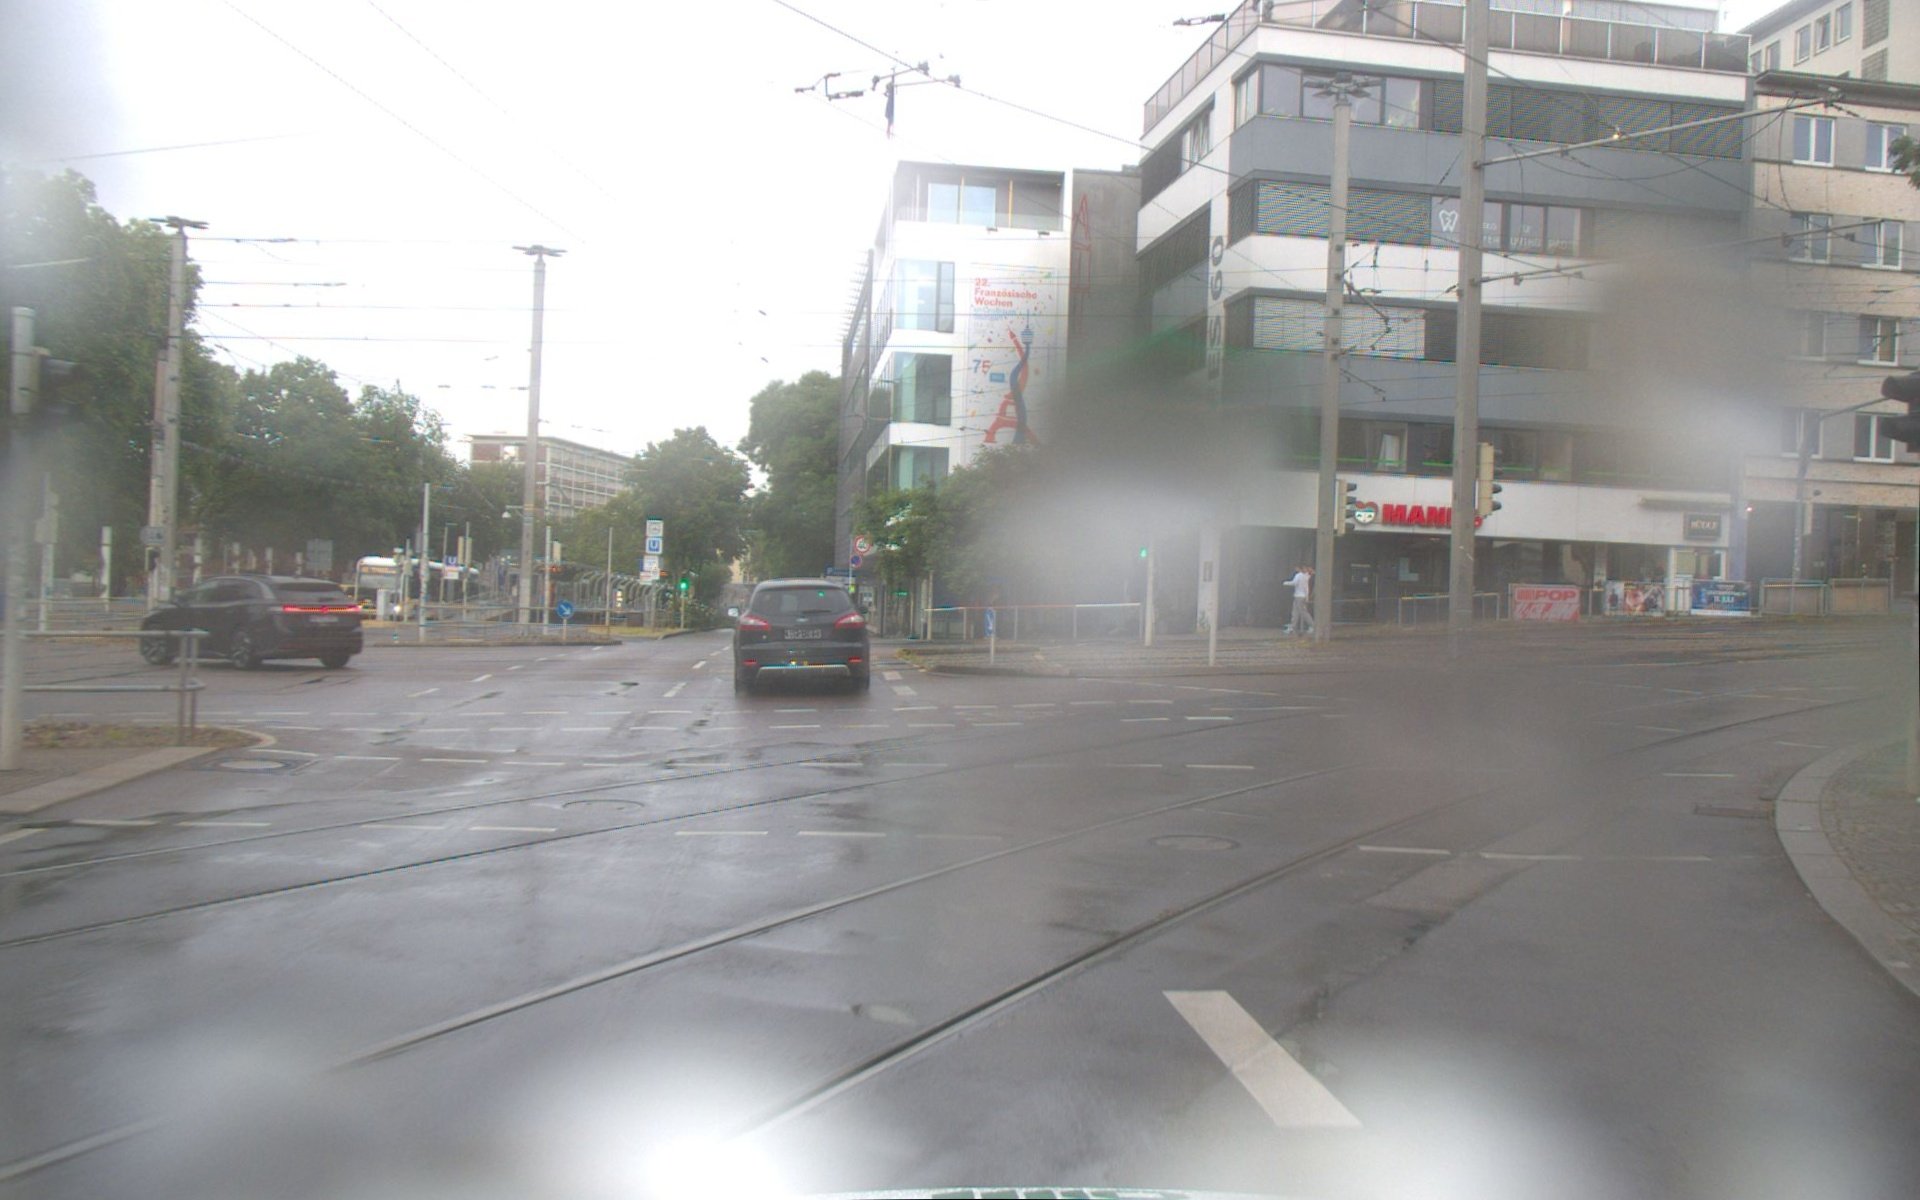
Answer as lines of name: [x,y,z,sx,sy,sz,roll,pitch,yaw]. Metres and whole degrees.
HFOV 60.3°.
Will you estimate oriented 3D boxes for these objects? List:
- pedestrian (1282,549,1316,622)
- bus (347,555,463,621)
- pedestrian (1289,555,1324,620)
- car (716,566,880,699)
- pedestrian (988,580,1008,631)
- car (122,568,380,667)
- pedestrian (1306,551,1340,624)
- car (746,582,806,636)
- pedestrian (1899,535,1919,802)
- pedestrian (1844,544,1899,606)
pedestrian: [9.109,-0.391,44.462,0.704,1.947,0.696,1,0,32]
bus: [-30.326,-0.700,91.042,3.016,3.358,12.512,0,1,-4]
pedestrian: [9.594,-0.352,45.847,0.706,1.792,0.694,1,0,39]
car: [-2.229,0.367,22.833,1.996,1.612,4.387,2,1,-6]
pedestrian: [1.185,0.164,51.451,0.530,1.590,0.522,0,0,14]
car: [-11.984,0.233,27.837,4.642,1.532,2.095,1,1,39]
pedestrian: [9.870,-0.343,44.960,0.704,1.947,0.696,1,0,32]
car: [-6.903,0.291,62.416,1.996,1.872,4.389,2,1,-4]
pedestrian: [6.581,0.446,11.025,0.517,1.742,0.704,1,1,32]
pedestrian: [25.462,-0.699,46.211,0.977,1.710,0.888,-1,0,-9]
